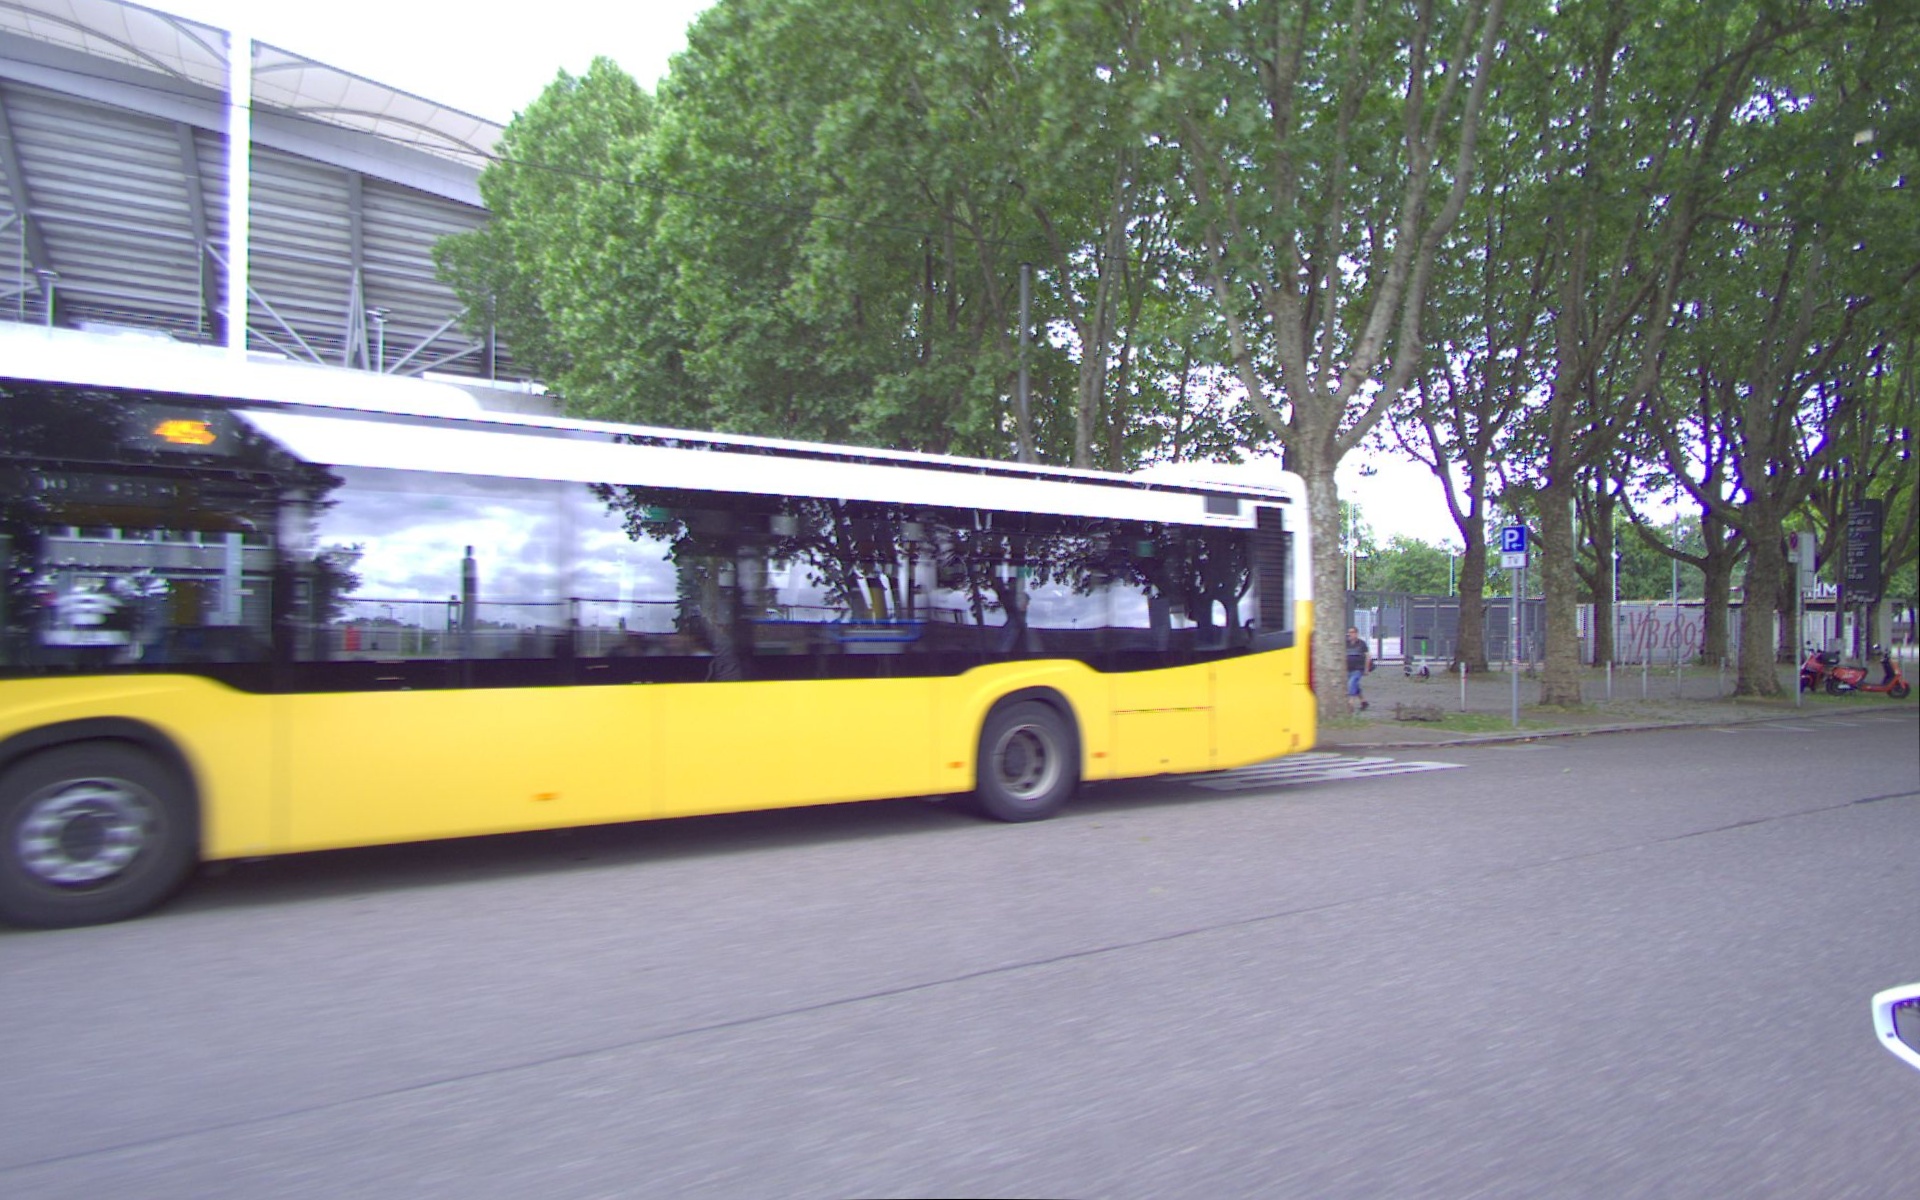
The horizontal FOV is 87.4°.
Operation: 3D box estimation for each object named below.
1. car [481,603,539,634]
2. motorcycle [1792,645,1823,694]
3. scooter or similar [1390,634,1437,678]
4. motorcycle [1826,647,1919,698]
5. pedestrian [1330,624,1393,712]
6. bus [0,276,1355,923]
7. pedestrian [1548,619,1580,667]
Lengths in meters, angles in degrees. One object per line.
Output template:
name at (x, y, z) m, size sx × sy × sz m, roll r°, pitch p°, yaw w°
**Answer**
car at (-25.562, 1.022, 56.978) m, size 1.984 × 1.684 × 3.953 m, roll 1°, pitch -1°, yaw -40°
motorcycle at (21.927, 1.774, 26.001) m, size 0.566 × 1.173 × 2.067 m, roll 1°, pitch 0°, yaw 40°
scooter or similar at (12.790, 1.572, 28.351) m, size 0.439 × 1.188 × 1.179 m, roll 1°, pitch 0°, yaw -24°
motorcycle at (22.914, 1.787, 24.973) m, size 2.035 × 1.173 × 0.575 m, roll 1°, pitch 0°, yaw 13°
pedestrian at (7.598, 1.271, 19.006) m, size 0.902 × 1.610 × 0.658 m, roll 1°, pitch 0°, yaw -30°
bus at (-2.196, 0.150, 7.884) m, size 12.217 × 3.195 × 2.641 m, roll 2°, pitch -4°, yaw -29°
pedestrian at (22.974, 1.638, 38.215) m, size 0.864 × 1.777 × 0.700 m, roll 1°, pitch 0°, yaw -30°
